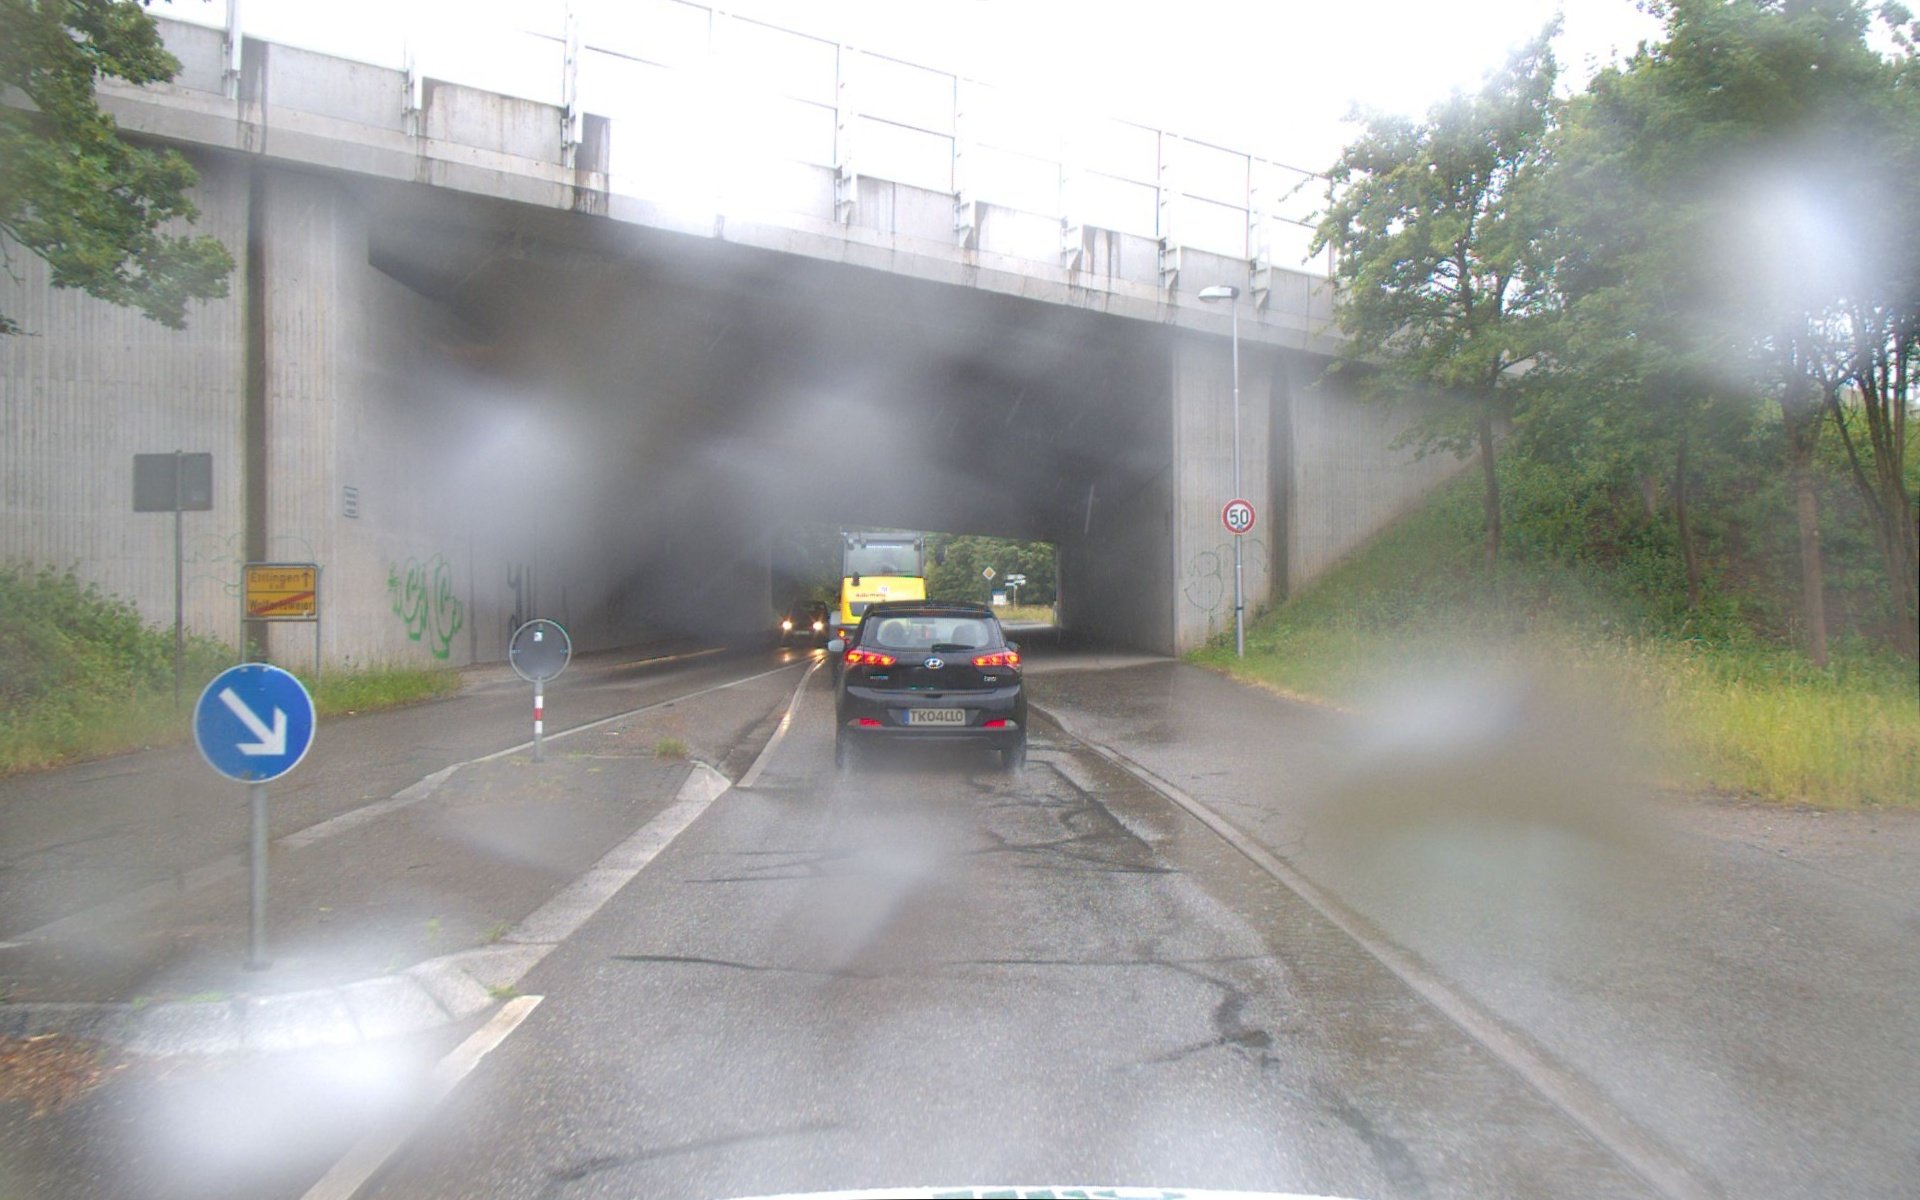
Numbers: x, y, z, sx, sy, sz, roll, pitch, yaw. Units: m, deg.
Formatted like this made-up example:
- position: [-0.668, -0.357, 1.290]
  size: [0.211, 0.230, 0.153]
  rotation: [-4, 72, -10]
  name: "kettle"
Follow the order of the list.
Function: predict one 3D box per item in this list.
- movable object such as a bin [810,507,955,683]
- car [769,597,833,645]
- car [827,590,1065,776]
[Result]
- position: [-1.354, -0.064, 29.245]
  size: [2.201, 2.716, 6.623]
  rotation: [1, 0, -3]
  name: "movable object such as a bin"
- position: [-5.179, 0.671, 54.201]
  size: [1.655, 1.513, 4.073]
  rotation: [0, 0, 1]
  name: "car"
- position: [-0.200, 0.700, 15.797]
  size: [1.954, 1.513, 3.998]
  rotation: [1, 0, -3]
  name: "car"
